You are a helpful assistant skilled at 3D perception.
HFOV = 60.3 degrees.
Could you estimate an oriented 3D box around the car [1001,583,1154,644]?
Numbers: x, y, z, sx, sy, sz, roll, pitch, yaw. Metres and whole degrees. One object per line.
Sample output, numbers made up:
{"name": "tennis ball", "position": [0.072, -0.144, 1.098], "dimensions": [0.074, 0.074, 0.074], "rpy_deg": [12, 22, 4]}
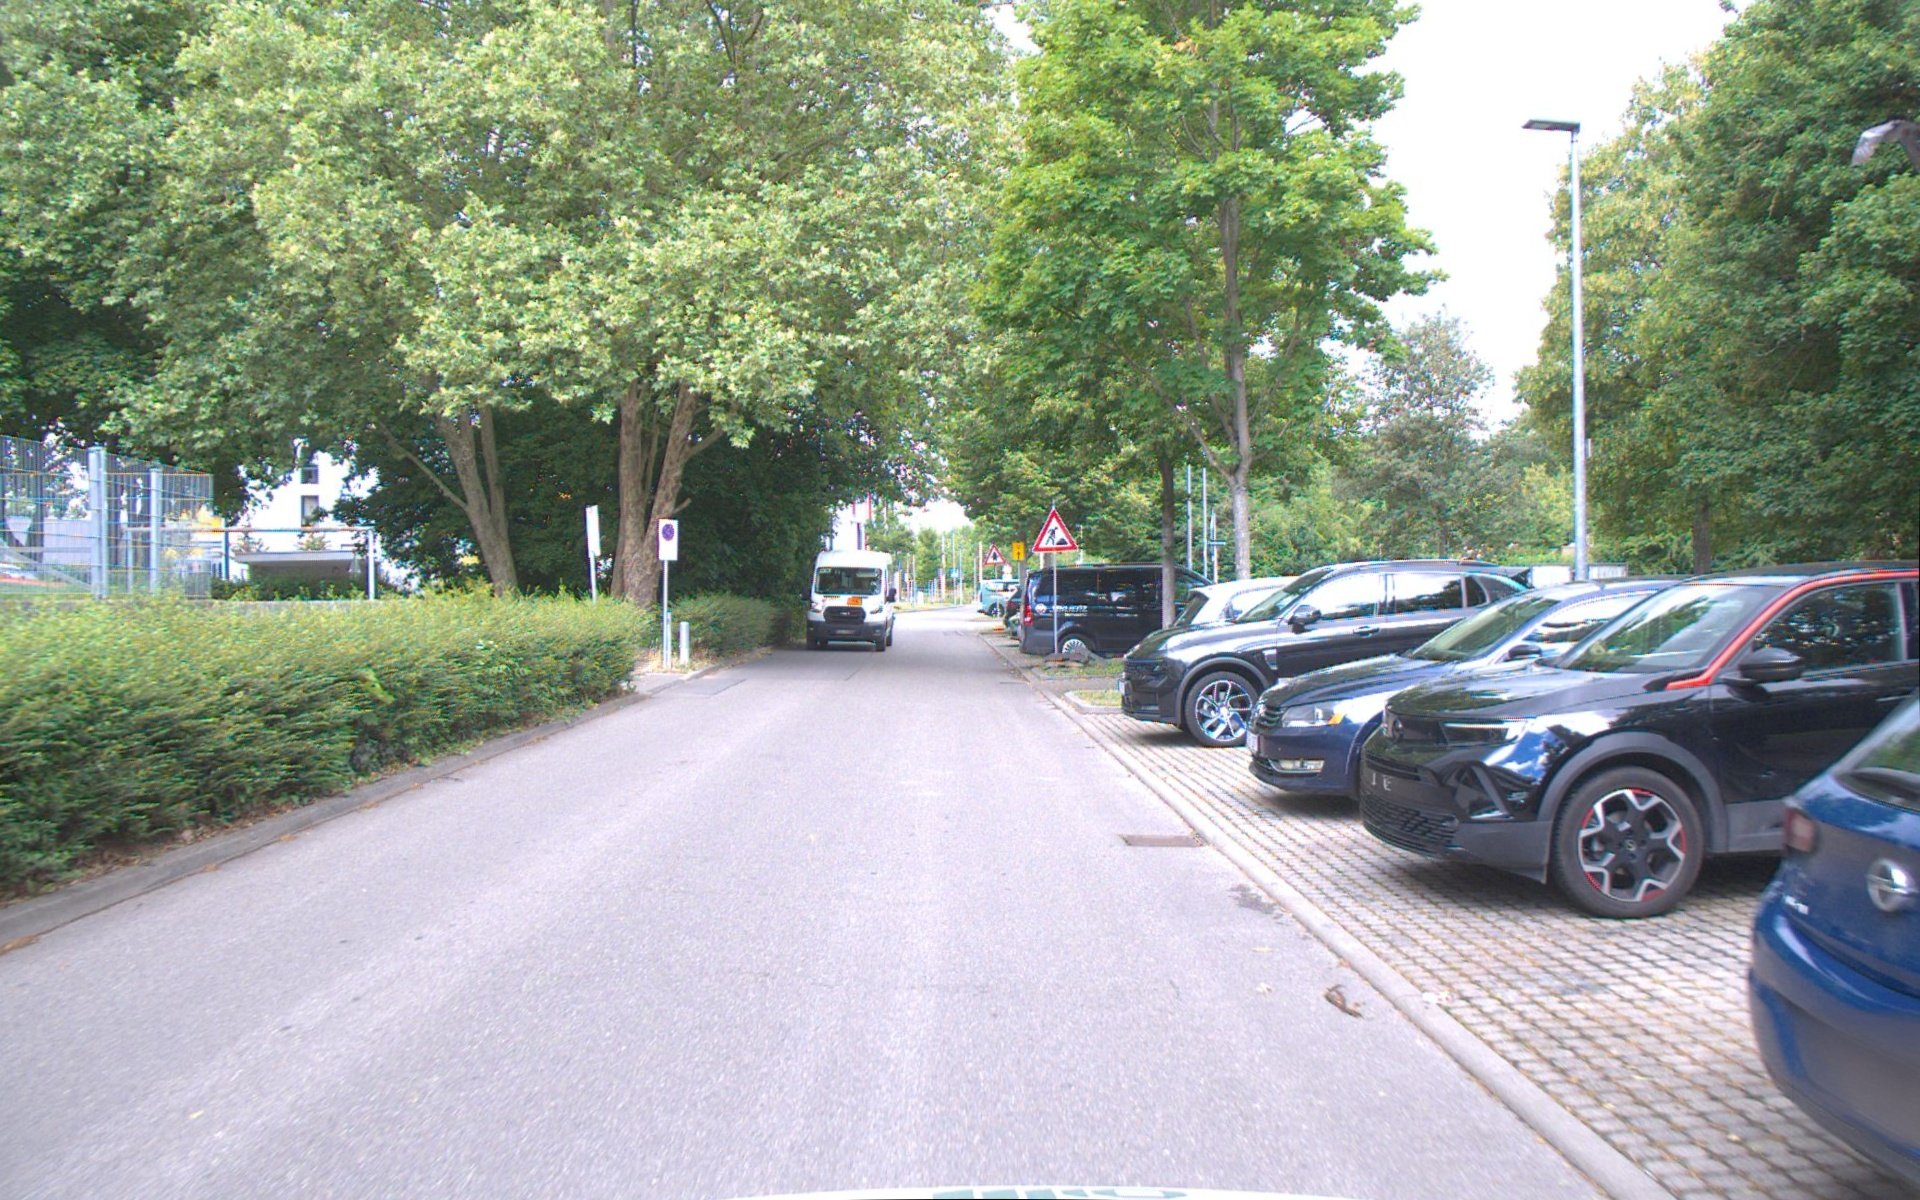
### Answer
{"name": "car", "position": [3.118, 0.358, 44.603], "dimensions": [3.906, 1.455, 1.935], "rpy_deg": [-2, 0, -2]}

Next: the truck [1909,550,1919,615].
{"name": "truck", "position": [39.052, -0.679, 62.223], "dimensions": [5.390, 2.468, 2.194], "rpy_deg": [-1, 0, 5]}

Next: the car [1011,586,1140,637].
{"name": "car", "position": [3.456, 0.340, 49.784], "dimensions": [3.752, 1.382, 1.823], "rpy_deg": [-2, 0, 2]}

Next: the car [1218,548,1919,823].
{"name": "car", "position": [4.187, 0.507, 11.226], "dimensions": [4.541, 1.543, 1.983], "rpy_deg": [-2, 1, 0]}

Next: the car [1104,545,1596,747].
{"name": "car", "position": [3.718, 0.407, 16.385], "dimensions": [4.326, 1.705, 2.082], "rpy_deg": [-2, 1, -2]}

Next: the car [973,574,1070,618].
{"name": "car", "position": [3.133, -0.211, 85.214], "dimensions": [4.871, 2.006, 1.846], "rpy_deg": [-2, 0, 0]}

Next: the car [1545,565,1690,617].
{"name": "car", "position": [27.322, -0.375, 68.857], "dimensions": [5.206, 2.093, 2.139], "rpy_deg": [0, 0, 5]}

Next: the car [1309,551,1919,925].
{"name": "car", "position": [3.987, 0.561, 8.273], "dimensions": [3.993, 1.544, 1.849], "rpy_deg": [-2, 0, -5]}

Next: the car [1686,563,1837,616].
{"name": "car", "position": [33.142, -0.433, 68.518], "dimensions": [5.206, 2.093, 2.139], "rpy_deg": [0, 0, 5]}

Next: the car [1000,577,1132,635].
{"name": "car", "position": [3.337, 0.189, 52.495], "dimensions": [4.038, 1.678, 1.980], "rpy_deg": [-2, -1, 2]}

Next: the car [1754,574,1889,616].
{"name": "car", "position": [32.615, -0.183, 62.680], "dimensions": [4.192, 1.553, 1.704], "rpy_deg": [-1, 0, 6]}

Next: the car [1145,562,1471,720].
{"name": "car", "position": [3.915, 0.434, 19.014], "dimensions": [3.310, 1.602, 1.796], "rpy_deg": [-2, 1, -1]}

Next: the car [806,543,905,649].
{"name": "car", "position": [-2.601, -0.123, 42.773], "dimensions": [2.088, 2.519, 6.277], "rpy_deg": [1, 0, 0]}

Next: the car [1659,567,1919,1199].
{"name": "car", "position": [3.823, 0.607, 3.363], "dimensions": [3.989, 1.482, 1.851], "rpy_deg": [-2, 0, -1]}

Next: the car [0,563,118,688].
{"name": "car", "position": [-13.627, 0.337, 21.985], "dimensions": [1.792, 1.639, 3.977], "rpy_deg": [0, -1, 41]}

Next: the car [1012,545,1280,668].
{"name": "car", "position": [3.495, 0.118, 31.910], "dimensions": [4.853, 2.048, 2.166], "rpy_deg": [-3, 0, 0]}

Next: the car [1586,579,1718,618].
{"name": "car", "position": [26.491, -0.056, 63.421], "dimensions": [4.335, 1.453, 1.704], "rpy_deg": [-1, 0, 6]}

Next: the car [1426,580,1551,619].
{"name": "car", "position": [20.343, -0.011, 63.818], "dimensions": [4.300, 1.453, 1.704], "rpy_deg": [-1, 0, 5]}
